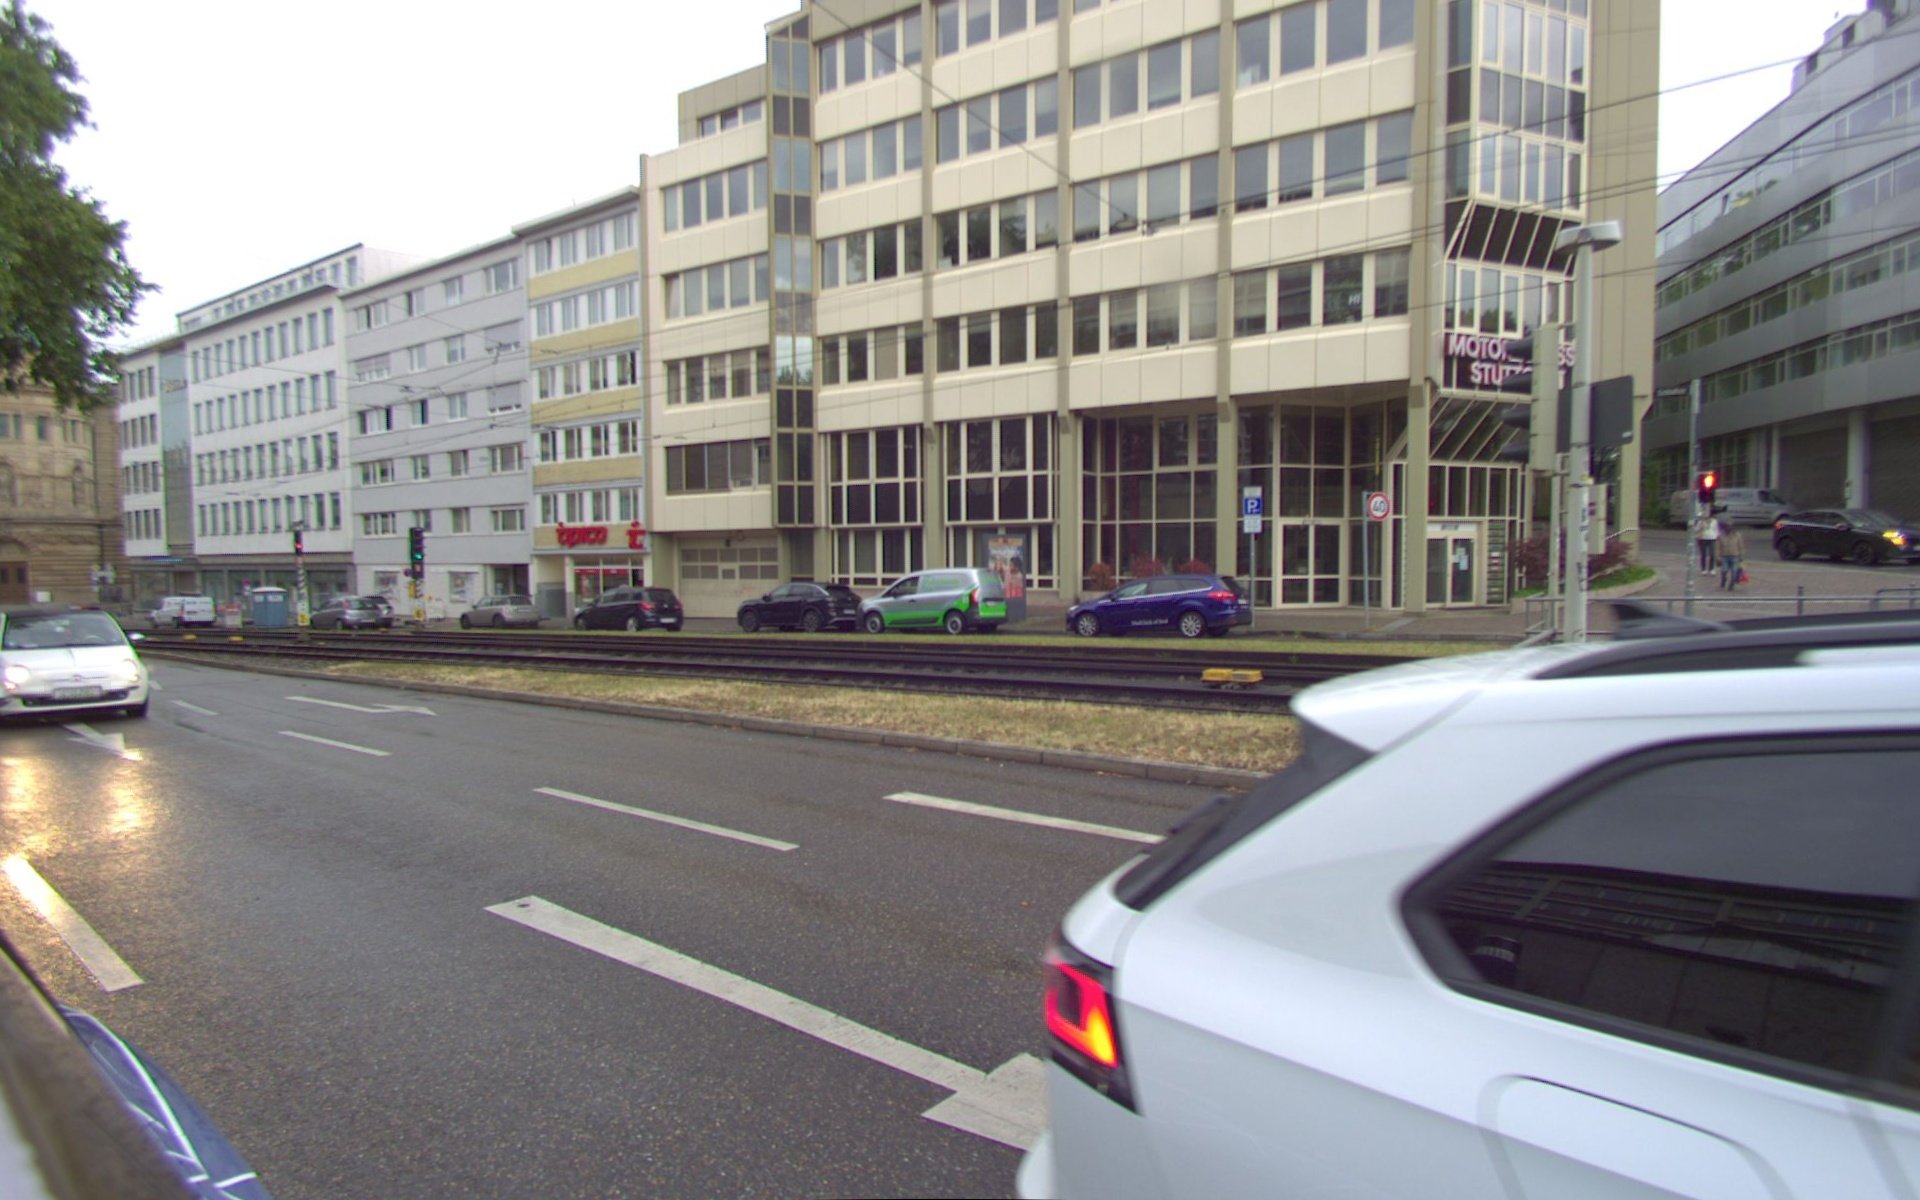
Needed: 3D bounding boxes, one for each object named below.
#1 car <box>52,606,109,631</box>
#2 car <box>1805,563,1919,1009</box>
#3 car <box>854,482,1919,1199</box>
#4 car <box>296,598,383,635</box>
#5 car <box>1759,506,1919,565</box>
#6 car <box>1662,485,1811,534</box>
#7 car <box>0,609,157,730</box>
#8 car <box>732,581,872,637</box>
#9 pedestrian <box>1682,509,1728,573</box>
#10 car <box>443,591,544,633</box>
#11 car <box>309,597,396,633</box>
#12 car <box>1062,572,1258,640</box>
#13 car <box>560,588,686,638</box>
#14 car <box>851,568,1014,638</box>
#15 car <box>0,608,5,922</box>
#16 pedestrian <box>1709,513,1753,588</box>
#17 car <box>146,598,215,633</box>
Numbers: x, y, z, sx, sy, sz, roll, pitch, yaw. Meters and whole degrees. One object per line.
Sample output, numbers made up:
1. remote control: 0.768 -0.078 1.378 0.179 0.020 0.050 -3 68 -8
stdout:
1. car: -62.330 1.294 71.696 4.465 1.636 1.869 0 3 34
2. car: 5.171 0.590 2.681 4.473 1.453 1.777 0 0 41
3. car: 2.099 0.624 0.750 4.473 1.453 1.777 0 0 41
4. car: -25.782 0.678 42.019 3.861 1.367 1.614 -1 2 34
5. car: 27.416 -2.039 31.122 1.974 1.591 4.884 -2 5 3
6. car: 37.524 -4.353 49.038 5.357 2.029 1.993 0 0 12
7. car: -12.491 0.861 13.937 3.438 1.445 1.633 0 0 41
8. car: -4.840 0.262 30.878 4.066 1.524 1.782 0 3 34
9. pedestrian: 19.990 -1.581 27.167 0.711 1.651 0.759 -1 3 6
10. car: -18.837 0.459 40.834 4.066 1.524 1.782 0 3 34
11. car: -28.434 0.682 47.339 4.066 1.524 1.869 0 3 34
12. car: 4.693 0.137 23.972 4.207 1.488 1.780 0 0 35
13. car: -10.350 0.394 31.011 3.861 1.367 1.614 -1 2 34
14. car: -0.799 0.078 27.987 4.204 1.759 1.782 0 3 33
15. car: -6.607 0.779 5.395 4.295 1.445 1.788 0 0 41
16. pedestrian: 18.893 -1.212 24.789 0.830 1.800 0.750 1 3 39
17. car: -46.672 0.904 60.587 4.465 1.949 1.869 0 3 34
